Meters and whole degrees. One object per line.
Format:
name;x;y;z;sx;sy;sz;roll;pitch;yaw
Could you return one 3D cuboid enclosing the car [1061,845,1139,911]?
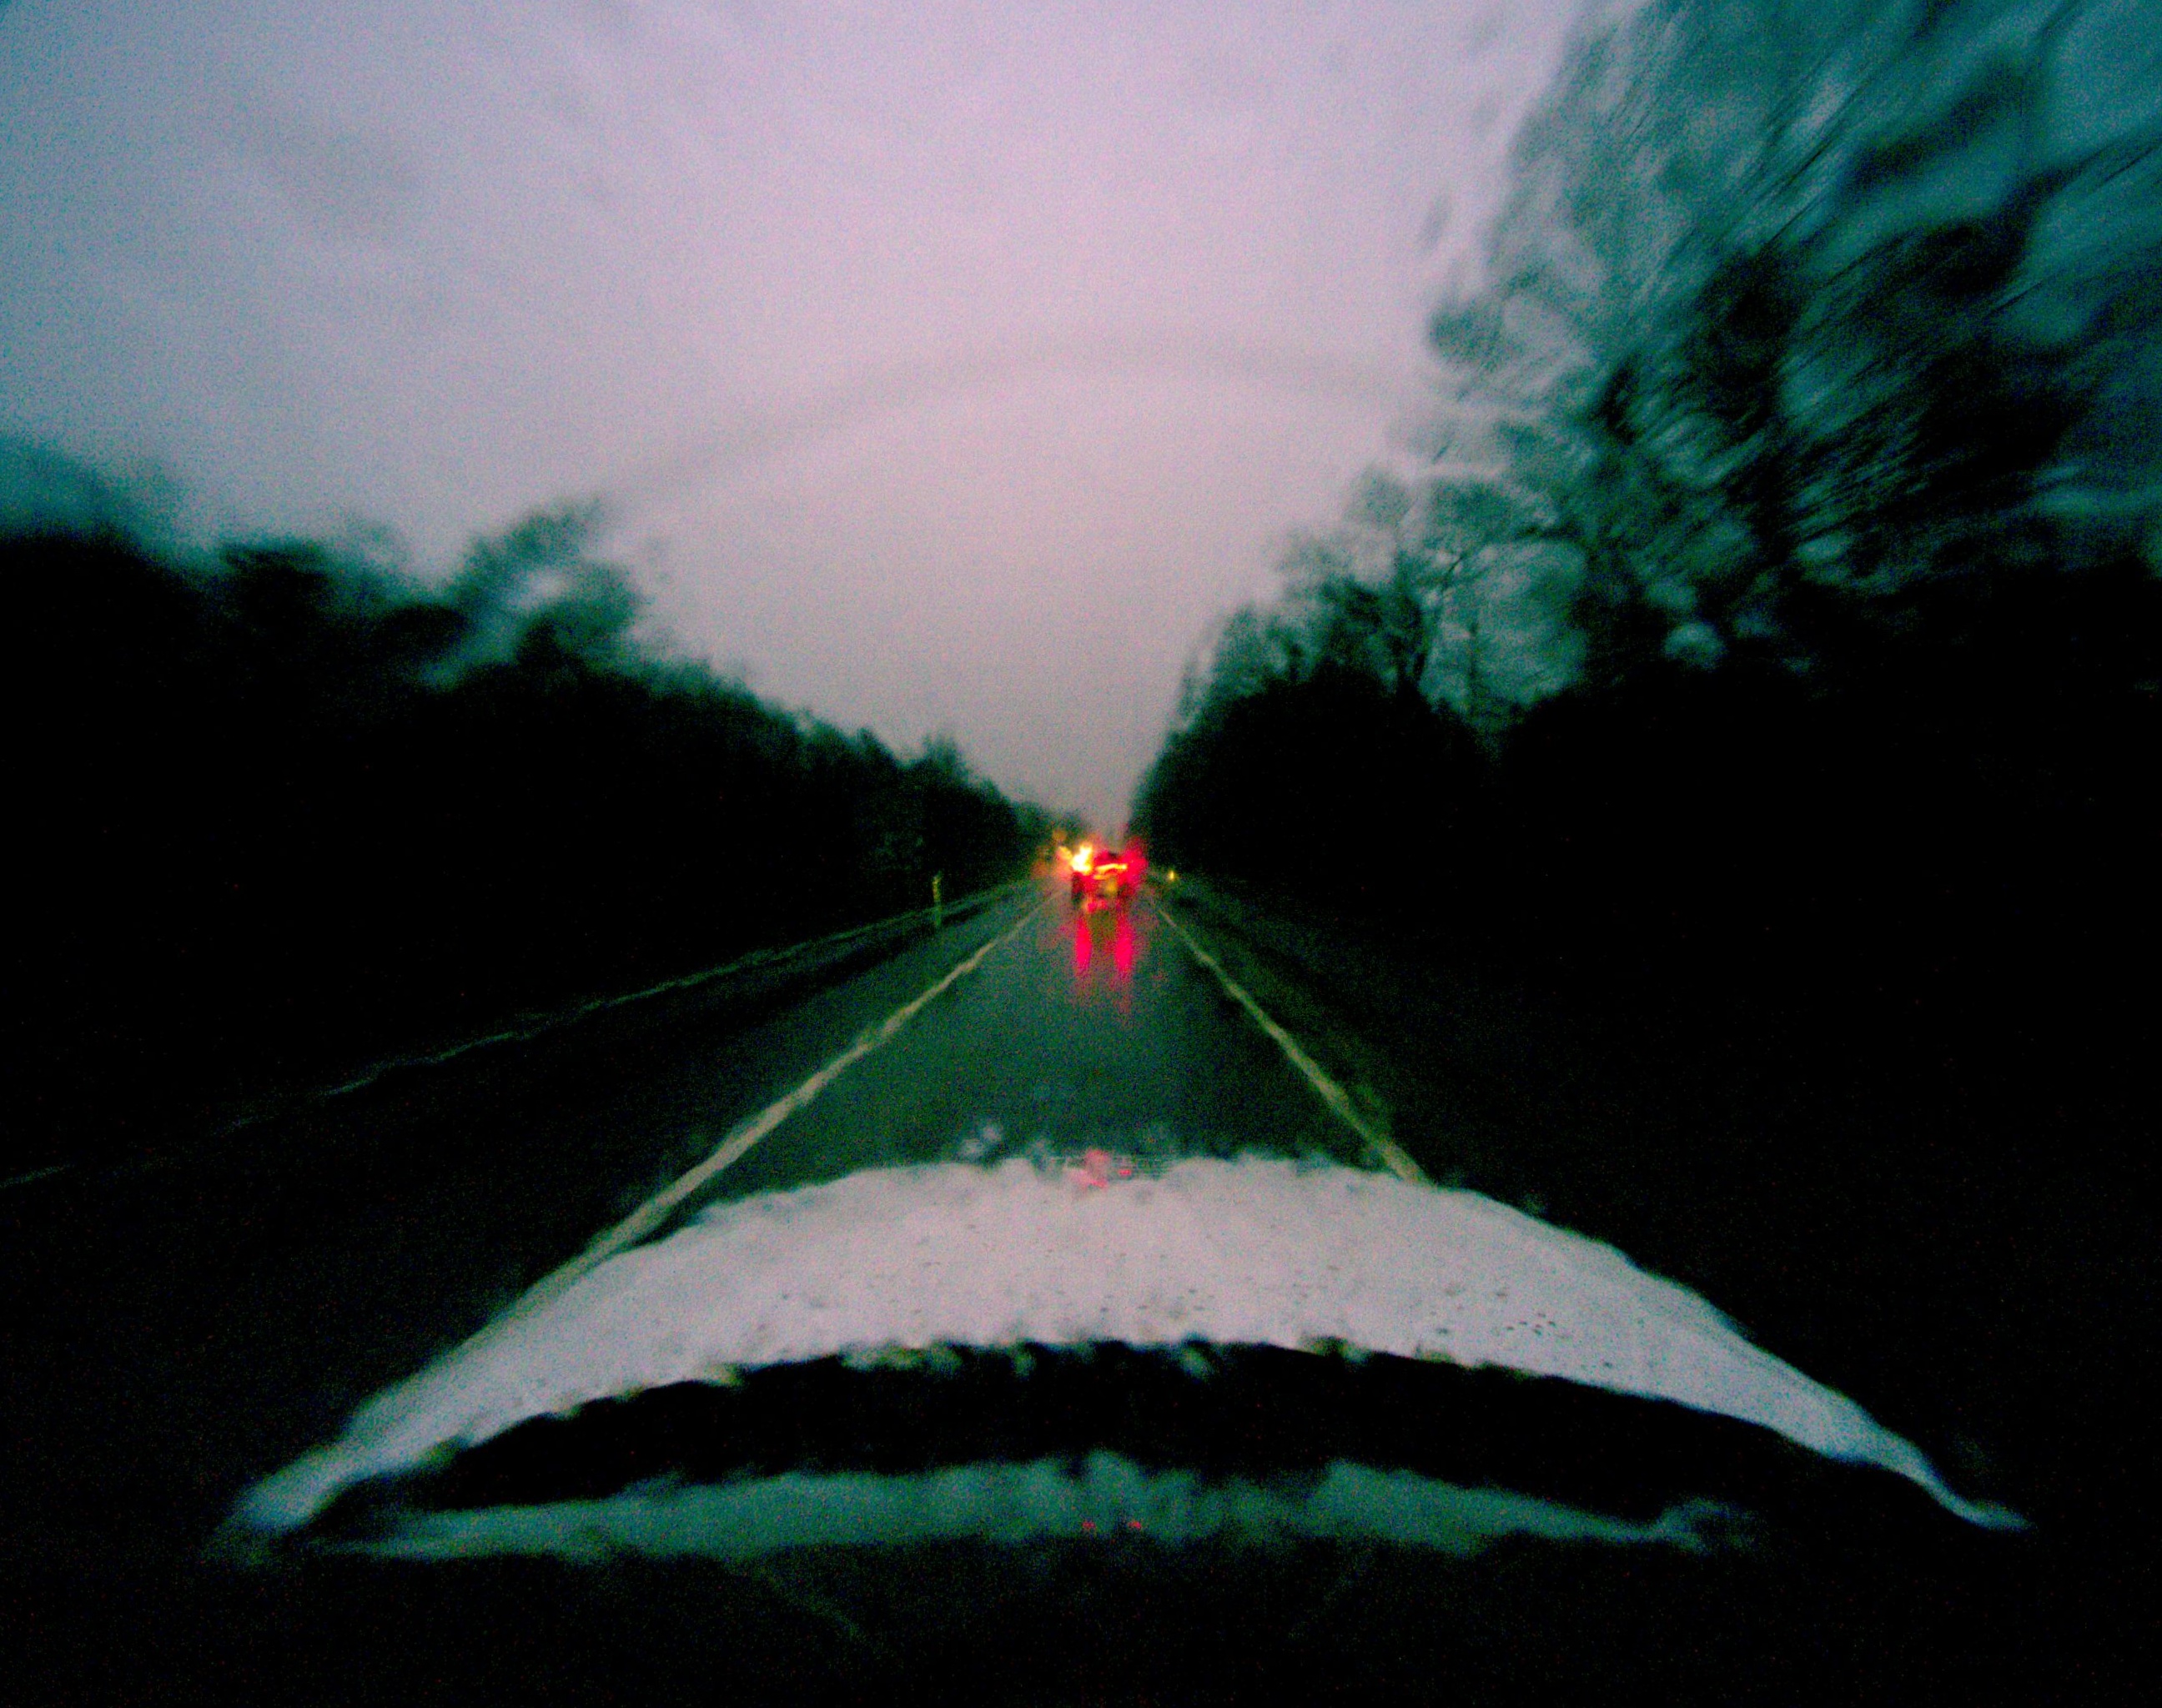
car;0.616;0.694;25.607;2.190;1.877;4.828;-1;0;2
